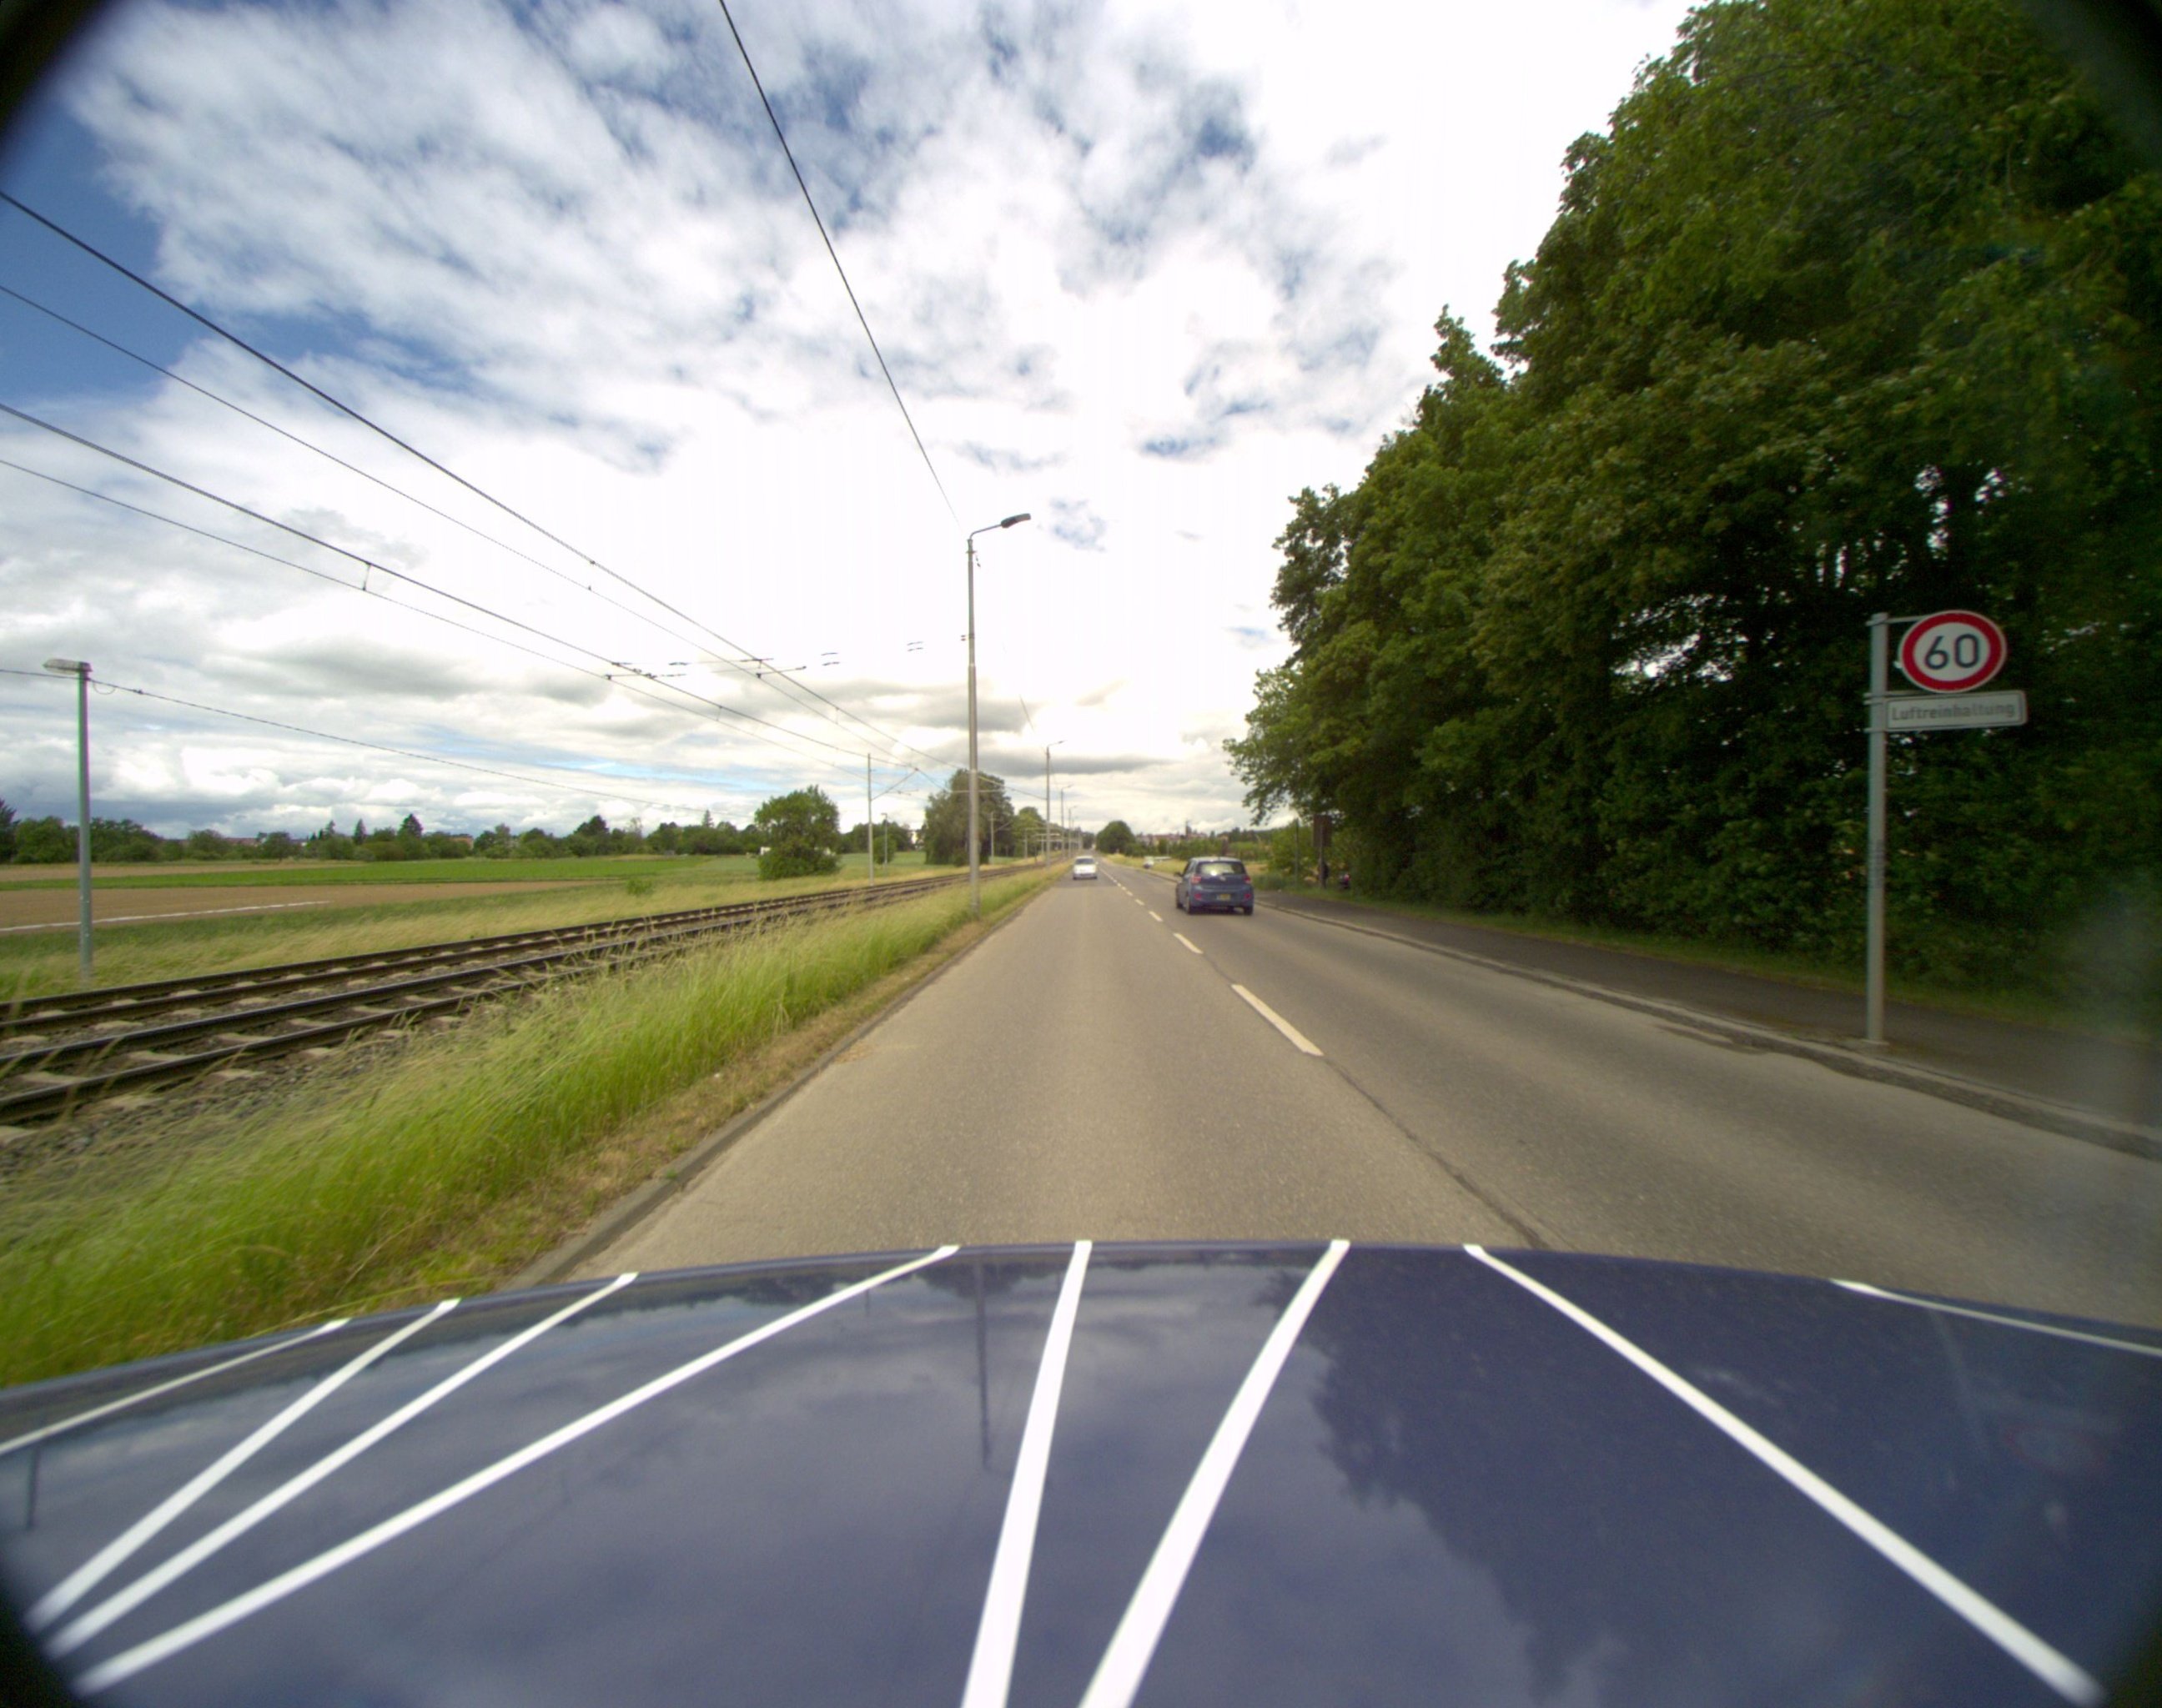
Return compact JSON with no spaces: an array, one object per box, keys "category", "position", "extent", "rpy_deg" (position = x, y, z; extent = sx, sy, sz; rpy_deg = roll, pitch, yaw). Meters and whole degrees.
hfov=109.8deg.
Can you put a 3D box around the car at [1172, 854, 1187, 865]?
[{"category":"car","position":[12.221,0.722,94.291],"extent":[1.451,1.244,3.599],"rpy_deg":[-2,1,1]}]

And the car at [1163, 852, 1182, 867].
[{"category":"car","position":[9.444,0.511,78.820],"extent":[1.472,1.439,3.868],"rpy_deg":[-2,1,1]}]

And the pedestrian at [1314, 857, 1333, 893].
[{"category":"pedestrian","position":[10.967,0.940,34.365],"extent":[0.706,1.584,0.707],"rpy_deg":[-1,-1,11]}]

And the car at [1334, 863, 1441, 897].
[{"category":"car","position":[13.258,1.117,33.051],"extent":[3.994,1.304,1.745],"rpy_deg":[1,1,8]}]

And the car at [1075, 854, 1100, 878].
[{"category":"car","position":[0.480,0.814,54.063],"extent":[1.643,1.510,3.868],"rpy_deg":[-2,1,1]}]

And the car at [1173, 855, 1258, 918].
[{"category":"car","position":[3.591,0.815,20.920],"extent":[1.711,1.519,3.824],"rpy_deg":[1,1,1]}]

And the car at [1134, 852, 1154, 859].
[{"category":"car","position":[11.167,0.285,134.227],"extent":[3.216,1.244,1.455],"rpy_deg":[-2,1,29]}]
